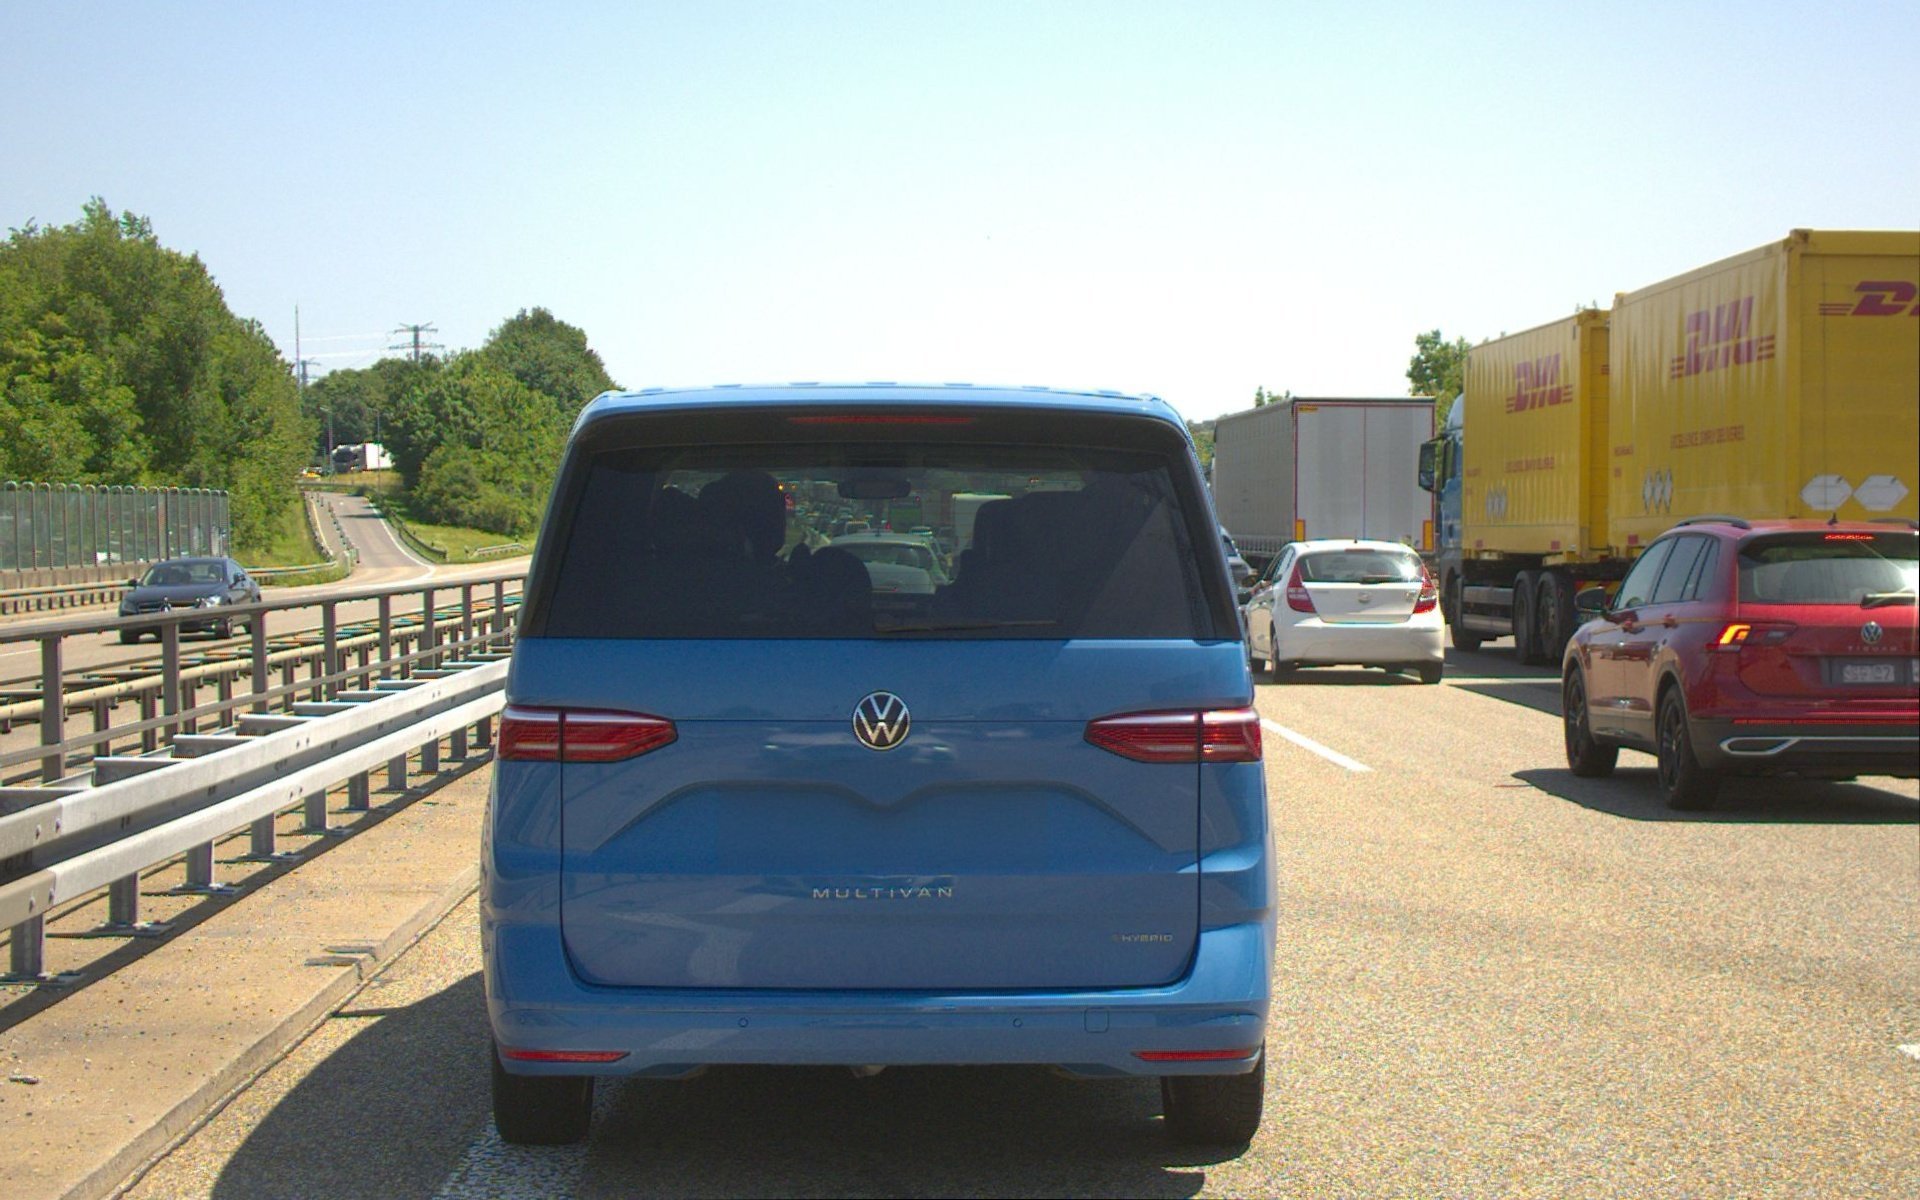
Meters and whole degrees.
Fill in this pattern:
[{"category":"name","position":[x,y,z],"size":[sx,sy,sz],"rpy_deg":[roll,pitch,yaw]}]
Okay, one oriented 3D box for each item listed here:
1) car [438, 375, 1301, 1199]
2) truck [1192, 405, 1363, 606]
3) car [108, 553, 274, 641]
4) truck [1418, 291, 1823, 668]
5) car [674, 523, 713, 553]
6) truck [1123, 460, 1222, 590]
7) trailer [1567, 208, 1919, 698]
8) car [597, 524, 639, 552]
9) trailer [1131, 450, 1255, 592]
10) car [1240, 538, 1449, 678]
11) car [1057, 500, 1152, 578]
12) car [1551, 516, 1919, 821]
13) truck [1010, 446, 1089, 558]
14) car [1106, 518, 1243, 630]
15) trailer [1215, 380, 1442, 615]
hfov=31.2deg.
[{"category":"car","position":[-0.232,0.390,9.521],"size":[1.882,1.831,4.000],"rpy_deg":[0,1,-1]},{"category":"truck","position":[6.753,-1.976,74.112],"size":[2.768,4.081,6.985],"rpy_deg":[1,1,-2]},{"category":"car","position":[-13.477,-0.073,60.474],"size":[1.856,1.393,4.675],"rpy_deg":[-3,1,-1]},{"category":"truck","position":[7.845,-1.353,42.420],"size":[2.722,4.040,10.337],"rpy_deg":[1,1,-1]},{"category":"car","position":[-14.166,-3.318,183.040],"size":[1.840,1.524,3.558],"rpy_deg":[-2,1,-1]},{"category":"truck","position":[6.290,-2.190,102.402],"size":[2.367,3.709,6.034],"rpy_deg":[1,0,-2]},{"category":"trailer","position":[8.060,-1.240,32.774],"size":[2.701,4.010,8.931],"rpy_deg":[1,1,-1]},{"category":"car","position":[-17.686,-3.199,177.833],"size":[1.800,1.381,4.263],"rpy_deg":[1,1,-1]},{"category":"trailer","position":[6.462,-2.148,96.798],"size":[2.379,3.731,11.189],"rpy_deg":[1,1,-2]},{"category":"car","position":[4.054,0.043,36.749],"size":[1.838,1.409,4.000],"rpy_deg":[0,1,1]},{"category":"car","position":[2.980,-1.272,71.685],"size":[1.715,1.535,3.821],"rpy_deg":[-1,1,-1]},{"category":"car","position":[4.778,0.323,20.175],"size":[1.851,1.603,4.000],"rpy_deg":[0,1,-1]},{"category":"truck","position":[4.158,-4.543,161.889],"size":[2.833,5.023,11.147],"rpy_deg":[1,1,-3]},{"category":"car","position":[3.139,-0.372,50.960],"size":[1.715,1.581,3.821],"rpy_deg":[0,0,-1]},{"category":"trailer","position":[6.977,-1.879,66.787],"size":[2.754,4.132,11.313],"rpy_deg":[1,1,-2]}]
